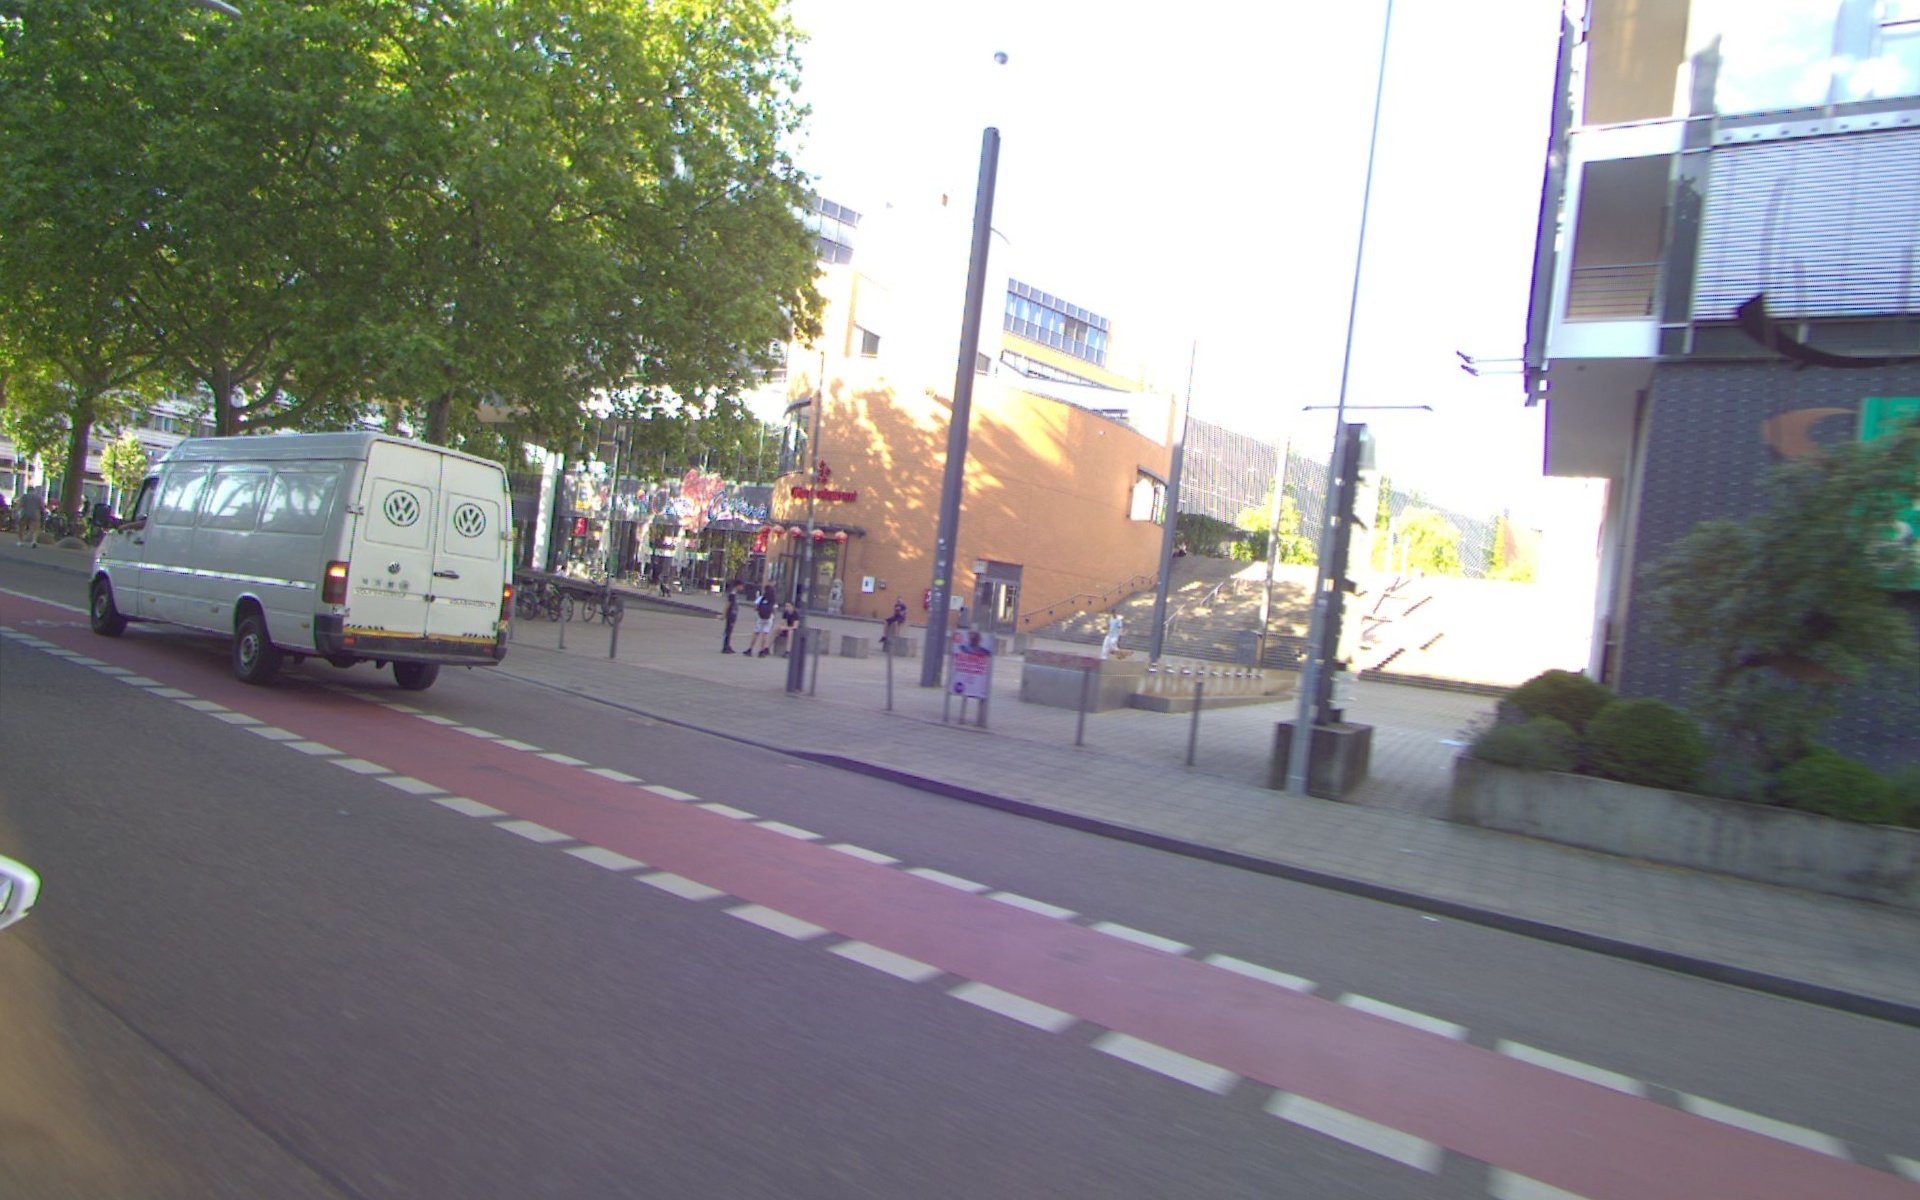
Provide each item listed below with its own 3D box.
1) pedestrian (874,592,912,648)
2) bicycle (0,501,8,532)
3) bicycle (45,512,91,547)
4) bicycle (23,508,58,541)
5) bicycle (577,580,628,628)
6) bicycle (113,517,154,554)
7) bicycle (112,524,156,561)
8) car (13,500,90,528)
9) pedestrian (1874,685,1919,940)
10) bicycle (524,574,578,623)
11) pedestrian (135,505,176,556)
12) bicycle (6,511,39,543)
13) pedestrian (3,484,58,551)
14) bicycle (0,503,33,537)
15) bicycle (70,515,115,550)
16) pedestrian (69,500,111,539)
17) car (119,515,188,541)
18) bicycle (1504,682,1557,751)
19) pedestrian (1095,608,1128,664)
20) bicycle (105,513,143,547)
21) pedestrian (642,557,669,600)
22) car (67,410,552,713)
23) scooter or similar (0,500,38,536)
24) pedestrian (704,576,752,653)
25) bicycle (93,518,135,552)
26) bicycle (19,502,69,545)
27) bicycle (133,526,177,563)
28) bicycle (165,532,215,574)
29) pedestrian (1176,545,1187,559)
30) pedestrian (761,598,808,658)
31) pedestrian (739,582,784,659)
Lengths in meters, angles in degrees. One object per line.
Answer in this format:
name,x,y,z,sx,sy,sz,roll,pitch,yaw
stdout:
pedestrian,-1.849,0.559,27.826,0.591,1.474,0.712,7,1,31
bicycle,-35.253,-3.058,36.519,0.591,1.130,1.931,6,0,-34
bicycle,-30.924,-2.437,34.873,1.626,1.044,0.596,7,0,28
bicycle,-34.176,-2.811,37.398,0.602,1.130,1.809,6,0,-34
bicycle,-9.389,0.099,26.392,1.488,1.090,0.458,7,0,40
bicycle,-29.991,-2.336,36.492,1.626,1.151,0.503,7,1,28
bicycle,-25.396,-1.769,30.912,1.733,0.992,0.451,7,1,32
car,-73.267,-6.940,81.162,1.767,1.579,4.243,7,0,34
pedestrian,7.444,1.594,7.334,0.881,1.831,0.590,7,1,31
bicycle,-10.351,-0.048,25.422,1.458,1.090,0.551,7,0,40
pedestrian,-30.572,-2.643,38.244,0.757,1.779,0.819,7,1,24
bicycle,-38.001,-2.958,40.783,1.450,1.174,0.421,7,1,27
pedestrian,-27.170,-2.409,29.405,0.795,1.808,0.873,7,1,29
bicycle,-34.697,-2.938,36.946,0.591,1.130,1.809,6,0,-34
bicycle,-30.591,-2.376,35.471,1.626,1.044,0.596,7,0,28
pedestrian,-47.376,-4.379,54.794,1.023,1.843,1.213,6,-2,23
car,-69.773,-6.249,87.047,1.767,1.579,4.243,7,0,34
bicycle,10.400,2.091,18.360,0.688,1.077,1.877,7,0,30
pedestrian,4.877,1.159,32.321,0.711,1.697,0.539,7,1,31
bicycle,-33.412,-2.793,40.195,1.449,1.174,0.422,7,1,20
pedestrian,-14.103,-1.008,46.606,0.984,1.867,0.849,6,1,-15
car,-7.772,-0.556,11.696,6.454,2.756,1.997,6,-2,33
scooter or similar,-36.222,-3.127,38.295,0.899,1.154,1.260,5,-4,15
pedestrian,-4.970,0.320,21.578,0.628,1.562,0.576,7,1,38
bicycle,-30.266,-2.335,35.995,1.626,1.044,0.503,7,1,28
bicycle,-31.178,-2.599,34.218,1.844,1.280,0.596,7,1,28
bicycle,-25.155,-1.736,31.418,1.733,0.992,0.451,7,1,32
bicycle,-21.535,-1.315,28.135,1.733,0.992,0.451,7,1,32
pedestrian,13.856,-2.995,62.912,0.508,0.834,0.437,7,5,25
pedestrian,-3.900,0.629,22.368,0.666,1.236,0.614,7,1,35
pedestrian,-4.208,0.436,21.327,0.626,1.542,0.515,7,1,38
